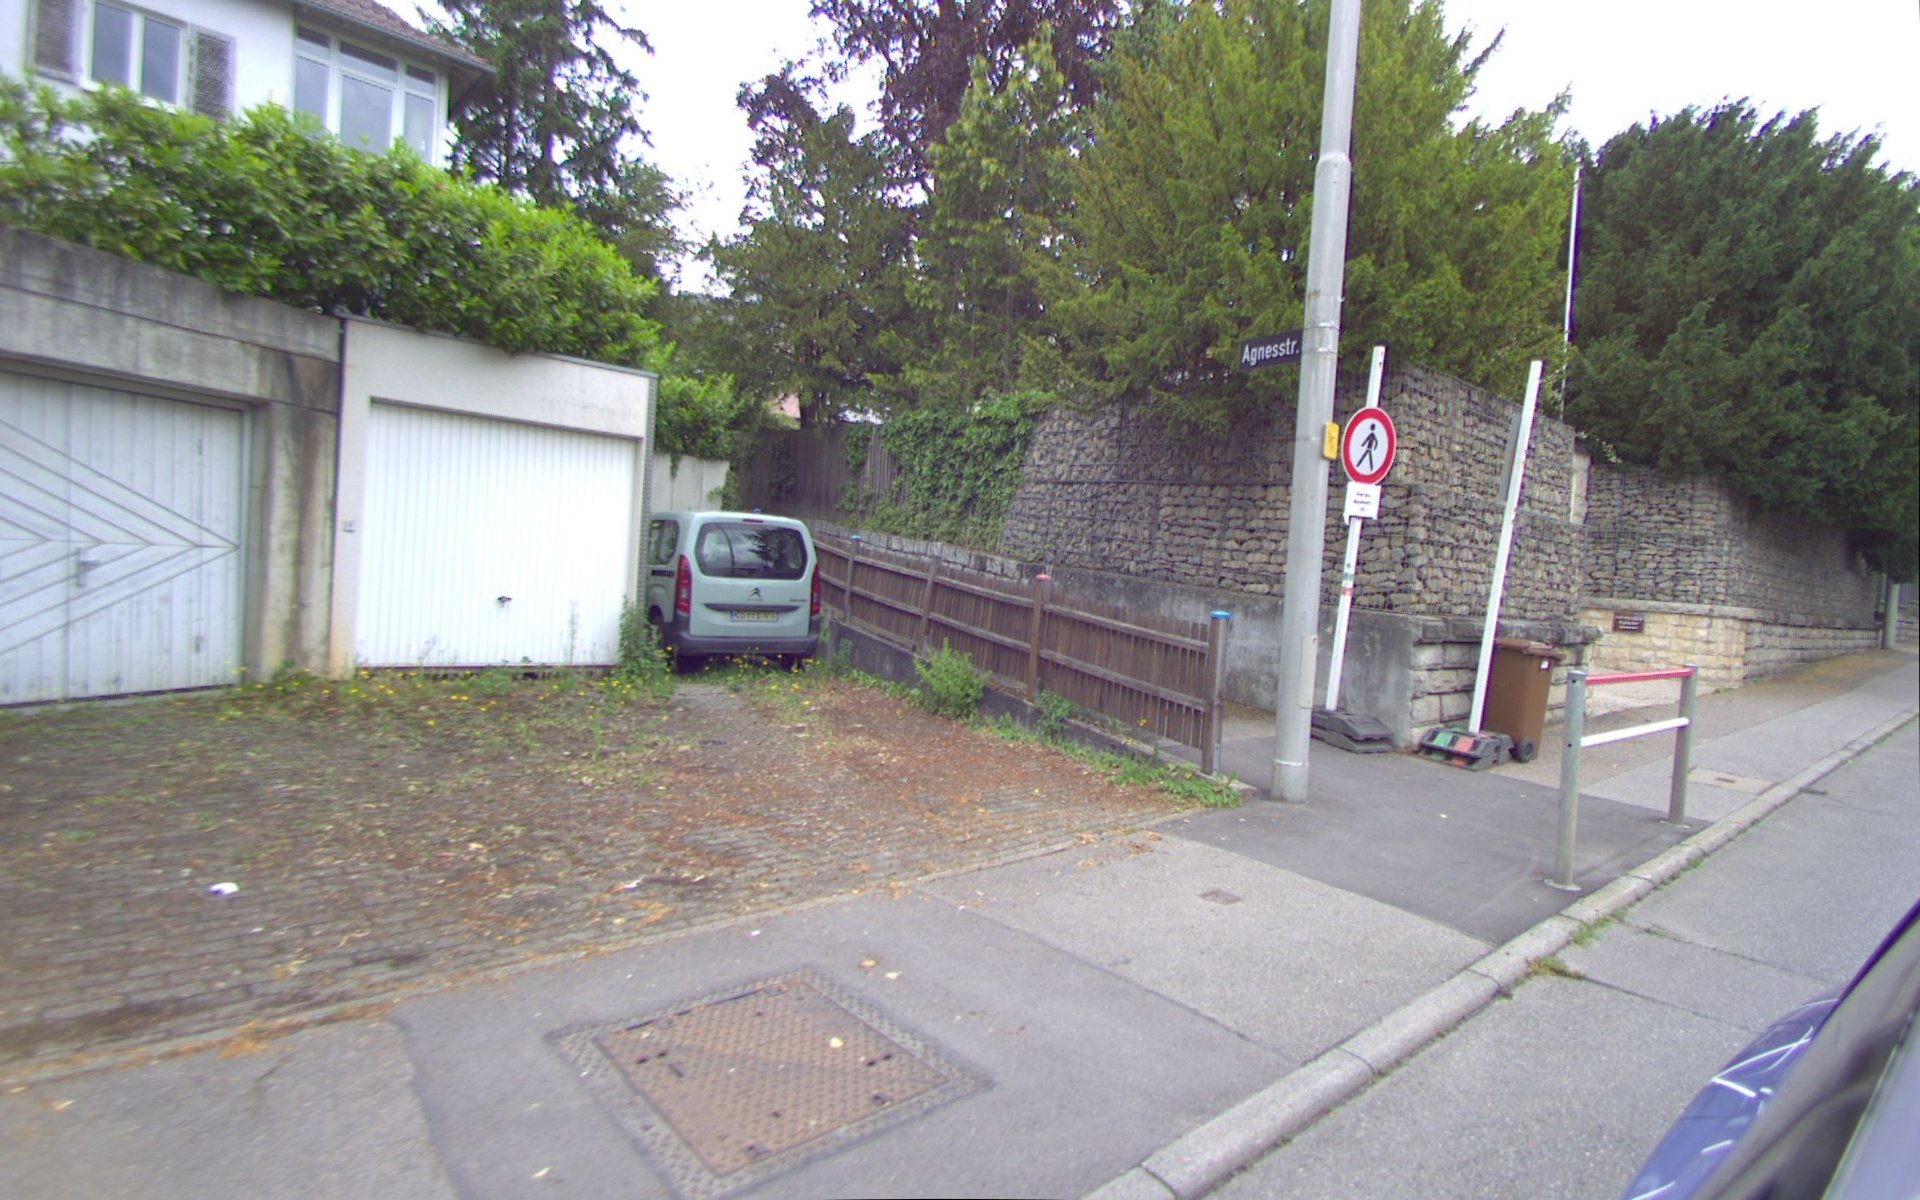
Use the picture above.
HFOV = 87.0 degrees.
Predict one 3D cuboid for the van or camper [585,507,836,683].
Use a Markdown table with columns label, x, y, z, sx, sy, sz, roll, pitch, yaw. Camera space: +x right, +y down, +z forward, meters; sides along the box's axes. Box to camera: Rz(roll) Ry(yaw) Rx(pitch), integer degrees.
| label | x | y | z | sx | sy | sz | roll | pitch | yaw |
| --- | --- | --- | --- | --- | --- | --- | --- | --- | --- |
| van or camper | -3.199 | -0.147 | 12.328 | 1.756 | 1.768 | 4.004 | 1 | 2 | -32 |

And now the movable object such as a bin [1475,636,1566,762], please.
| label | x | y | z | sx | sy | sz | roll | pitch | yaw |
| --- | --- | --- | --- | --- | --- | --- | --- | --- | --- |
| movable object such as a bin | 4.416 | 0.761 | 7.984 | 0.386 | 0.921 | 0.447 | 1 | 2 | -31 |
